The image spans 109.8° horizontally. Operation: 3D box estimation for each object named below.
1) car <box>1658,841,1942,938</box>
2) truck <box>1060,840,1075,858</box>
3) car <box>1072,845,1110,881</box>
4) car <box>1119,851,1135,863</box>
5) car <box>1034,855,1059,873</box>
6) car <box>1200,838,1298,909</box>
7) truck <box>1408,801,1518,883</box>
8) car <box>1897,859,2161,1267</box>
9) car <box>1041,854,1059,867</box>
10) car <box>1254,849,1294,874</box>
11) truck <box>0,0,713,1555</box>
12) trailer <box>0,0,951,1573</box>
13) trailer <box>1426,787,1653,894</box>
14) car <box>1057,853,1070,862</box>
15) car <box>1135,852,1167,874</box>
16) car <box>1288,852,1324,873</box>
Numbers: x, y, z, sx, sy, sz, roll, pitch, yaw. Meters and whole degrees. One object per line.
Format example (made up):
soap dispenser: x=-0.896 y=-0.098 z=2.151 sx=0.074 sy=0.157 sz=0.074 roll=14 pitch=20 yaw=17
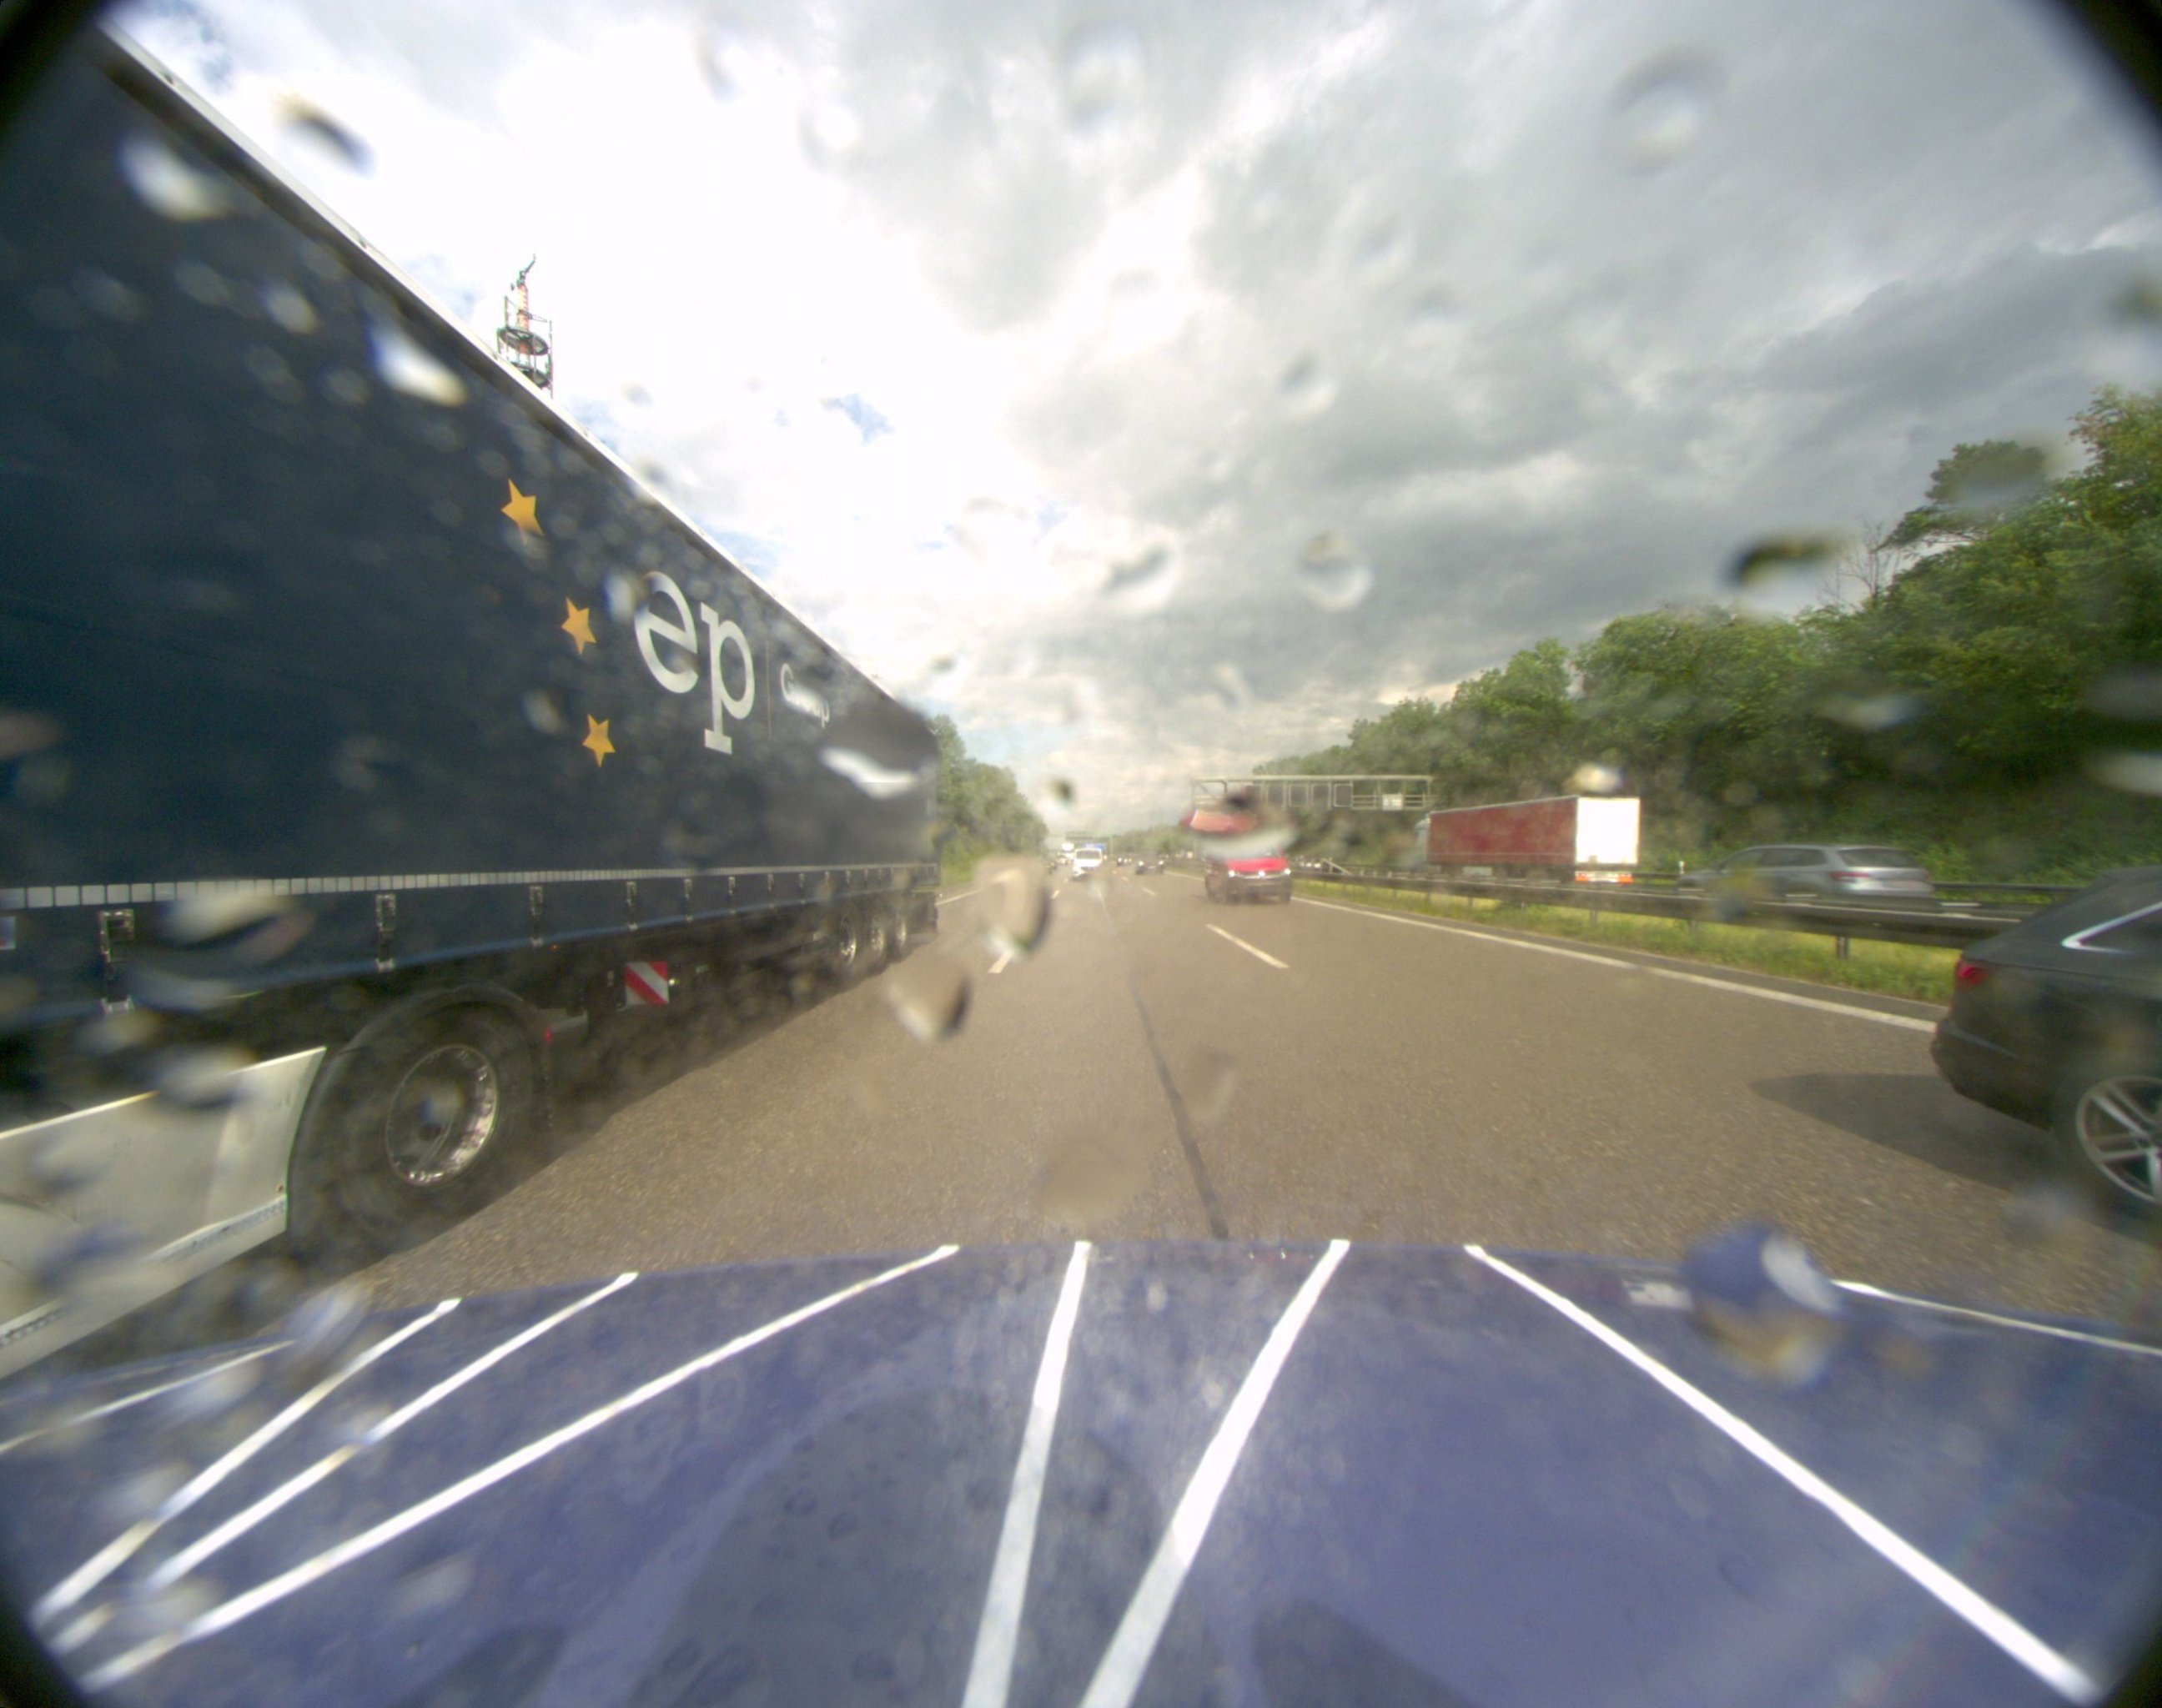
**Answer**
car: x=14.228 y=0.605 z=15.445 sx=1.736 sy=1.653 sz=4.235 roll=-2 pitch=1 yaw=0
truck: x=-2.794 y=-1.001 z=163.011 sx=3.064 sy=3.827 sz=8.799 roll=-1 pitch=0 yaw=0
car: x=0.653 y=0.503 z=47.199 sx=2.124 sy=1.988 sz=5.982 roll=-2 pitch=1 yaw=1
car: x=6.074 y=0.345 z=100.871 sx=1.798 sy=1.410 sz=4.839 roll=-2 pitch=1 yaw=1
car: x=-2.936 y=0.839 z=66.068 sx=1.798 sy=1.410 sz=4.839 roll=-2 pitch=1 yaw=1
car: x=4.984 y=0.513 z=23.225 sx=1.926 sy=1.855 sz=4.839 roll=-2 pitch=1 yaw=1
truck: x=22.147 y=-0.666 z=44.512 sx=2.870 sy=4.347 sz=6.867 roll=-2 pitch=1 yaw=0
car: x=4.736 y=0.763 z=1.173 sx=1.798 sy=1.410 sz=4.839 roll=-2 pitch=1 yaw=1
car: x=-3.598 y=0.716 z=89.849 sx=1.798 sy=1.410 sz=4.839 roll=-2 pitch=1 yaw=1
car: x=14.232 y=0.515 z=56.258 sx=1.842 sy=1.653 sz=4.440 roll=-2 pitch=1 yaw=0
truck: x=-4.027 y=-0.219 z=1.711 sx=2.613 sy=3.972 sz=7.289 roll=-2 pitch=1 yaw=1
trailer: x=-3.962 y=-0.236 z=7.514 sx=2.641 sy=3.972 sz=14.063 roll=-2 pitch=1 yaw=1
trailer: x=22.139 y=-0.616 z=38.426 sx=2.870 sy=4.347 sz=14.090 roll=-2 pitch=1 yaw=0
car: x=-2.789 y=0.517 z=124.004 sx=1.798 sy=1.410 sz=4.839 roll=-2 pitch=1 yaw=1
car: x=5.311 y=0.635 z=57.976 sx=2.009 sy=1.488 sz=4.839 roll=-2 pitch=1 yaw=1
car: x=18.630 y=0.662 z=63.124 sx=1.704 sy=1.653 sz=4.235 roll=-2 pitch=1 yaw=0
